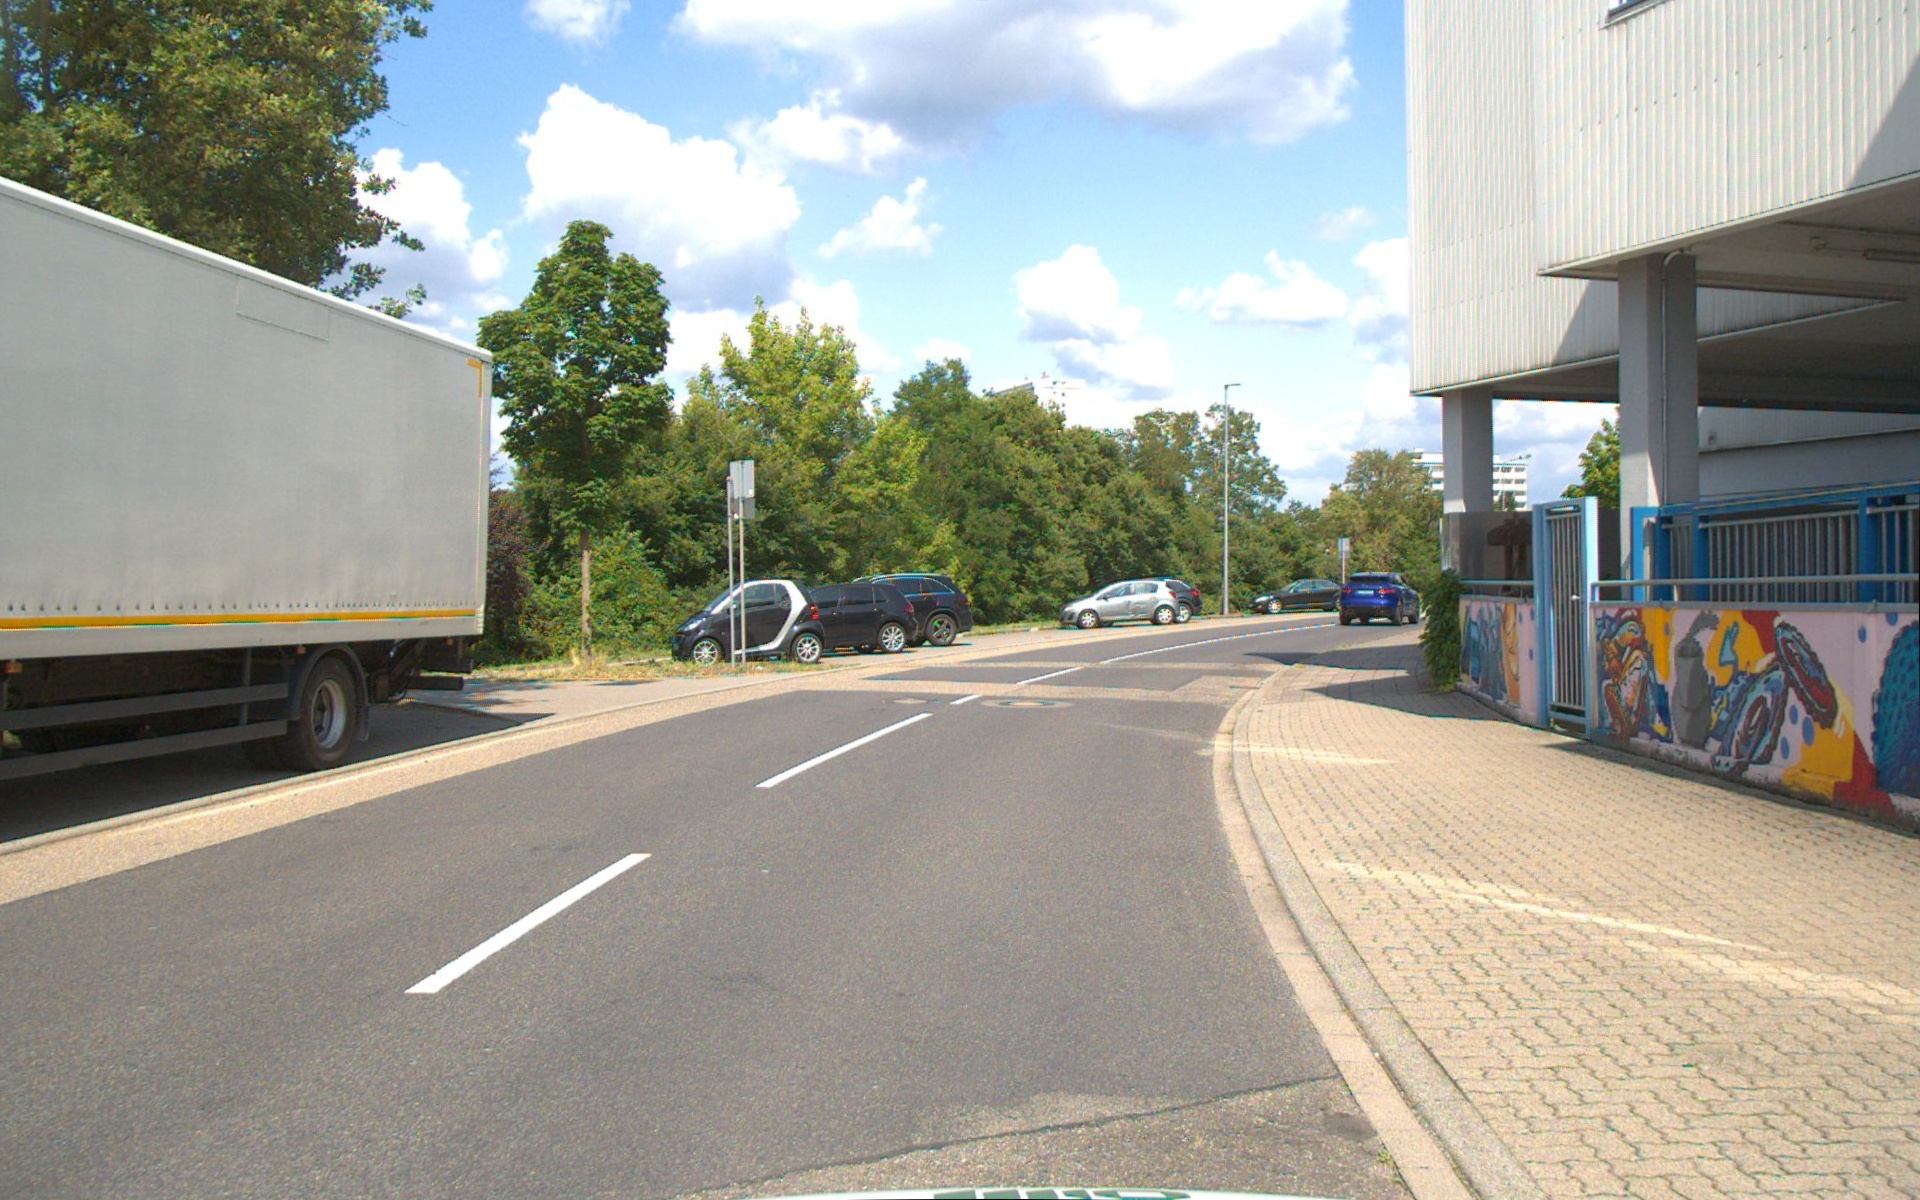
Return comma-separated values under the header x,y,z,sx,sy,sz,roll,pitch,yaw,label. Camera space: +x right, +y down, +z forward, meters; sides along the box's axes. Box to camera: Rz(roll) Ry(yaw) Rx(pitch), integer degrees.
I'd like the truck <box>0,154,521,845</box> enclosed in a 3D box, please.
x,y,z,sx,sy,sz,roll,pitch,yaw,label
-5.882,-0.575,10.962,2.271,3.629,9.375,1,1,8,truck

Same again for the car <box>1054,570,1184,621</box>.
x,y,z,sx,sy,sz,roll,pitch,yaw,label
5.123,-0.147,53.550,3.966,1.597,1.740,0,0,-4,car

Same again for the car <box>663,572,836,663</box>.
x,y,z,sx,sy,sz,roll,pitch,yaw,label
-3.883,0.310,30.356,2.854,1.597,1.880,0,0,-19,car

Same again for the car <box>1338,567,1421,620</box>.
x,y,z,sx,sy,sz,roll,pitch,yaw,label
13.554,-0.205,53.257,1.871,1.621,4.699,0,0,23,car

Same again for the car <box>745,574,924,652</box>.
x,y,z,sx,sy,sz,roll,pitch,yaw,label
-2.567,0.242,33.884,3.284,1.501,1.689,-1,1,-27,car

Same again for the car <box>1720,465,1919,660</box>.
x,y,z,sx,sy,sz,roll,pitch,yaw,label
10.692,-0.353,18.393,3.634,2.049,2.001,2,-1,8,car

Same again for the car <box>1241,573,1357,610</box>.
x,y,z,sx,sy,sz,roll,pitch,yaw,label
15.015,-0.373,73.409,4.785,1.597,1.740,0,0,-4,car

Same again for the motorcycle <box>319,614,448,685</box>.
x,y,z,sx,sy,sz,roll,pitch,yaw,label
-9.823,0.819,28.284,0.725,1.104,2.250,0,1,25,motorcycle

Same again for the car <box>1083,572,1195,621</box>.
x,y,z,sx,sy,sz,roll,pitch,yaw,label
6.027,-0.117,55.821,3.507,1.597,1.740,0,0,-4,car

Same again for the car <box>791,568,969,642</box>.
x,y,z,sx,sy,sz,roll,pitch,yaw,label
-1.815,0.109,37.380,3.584,1.597,1.874,0,-1,-26,car
